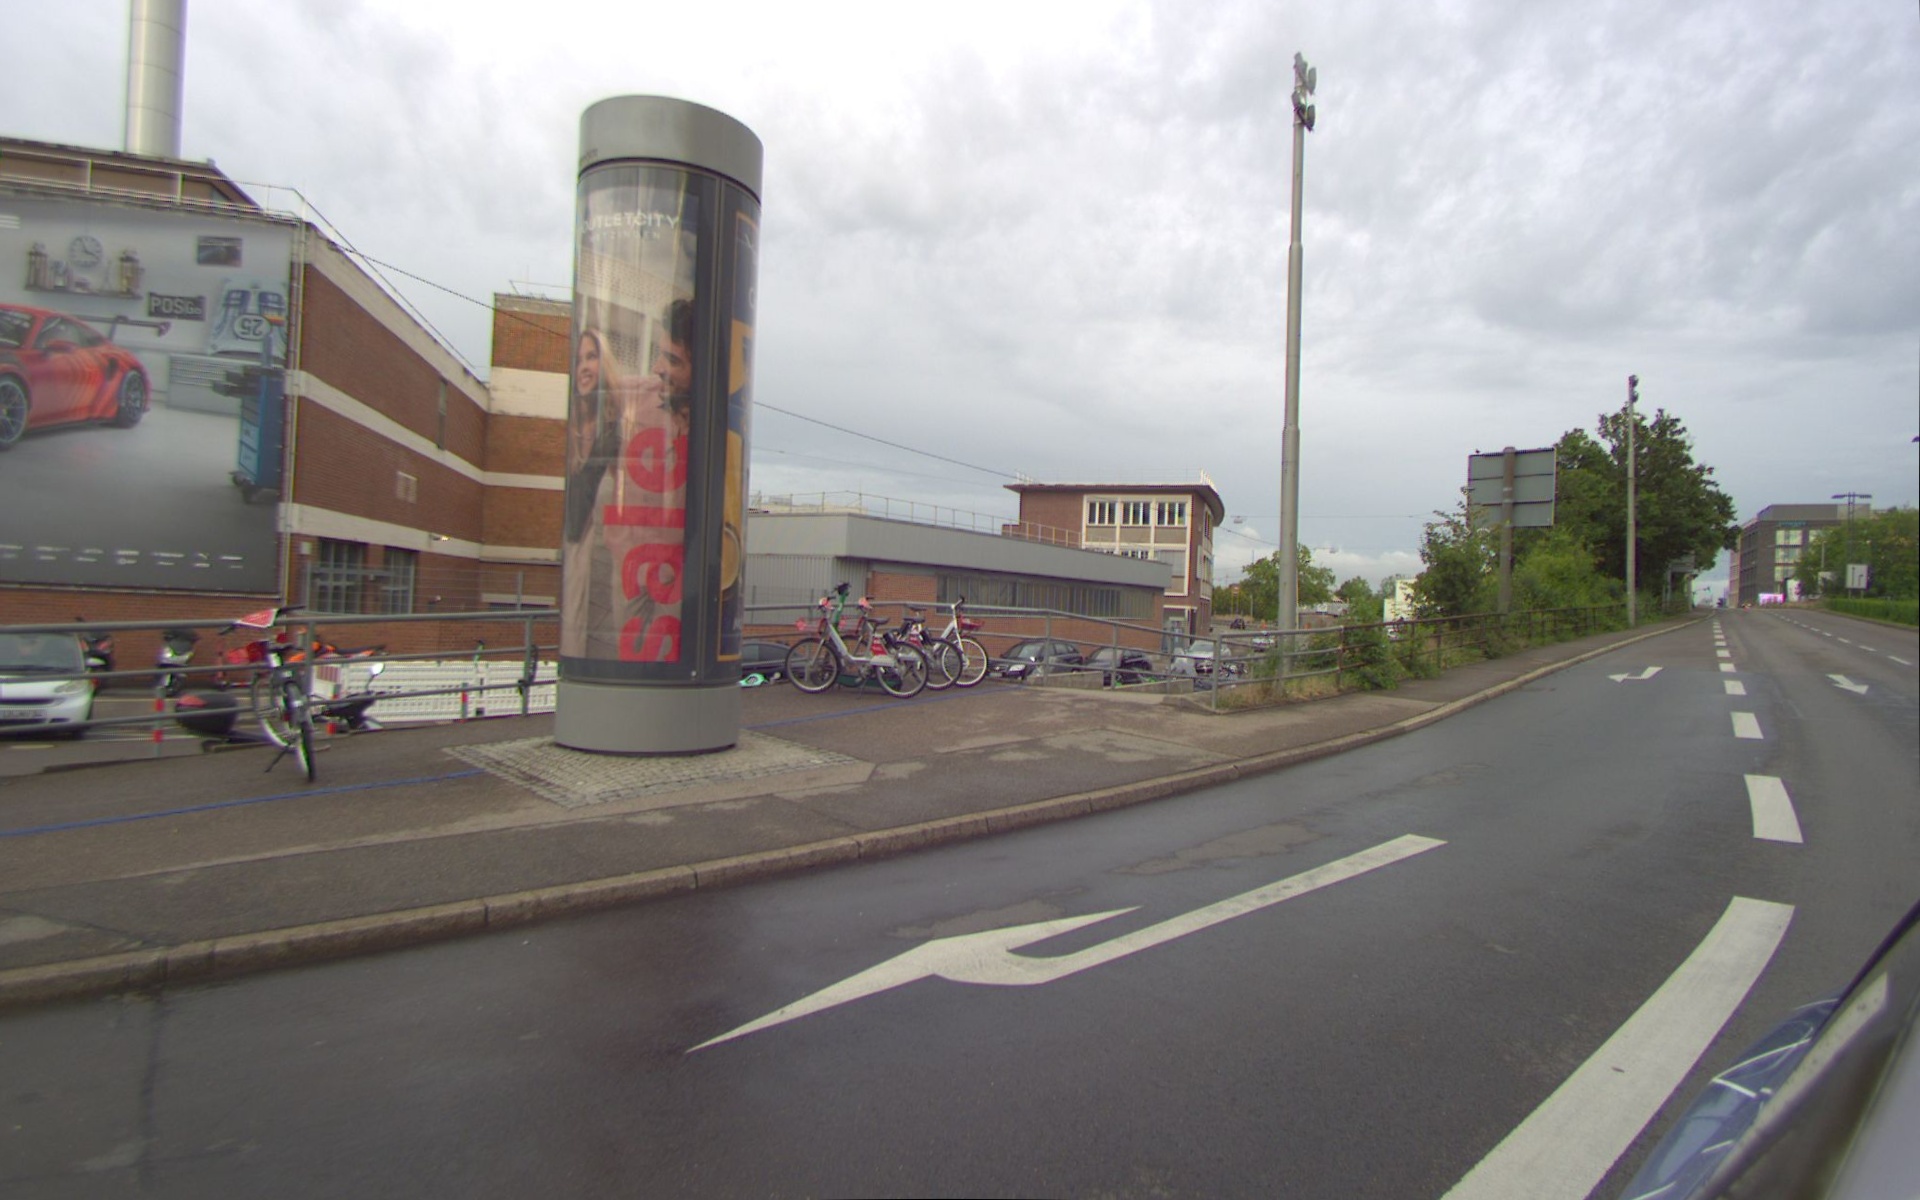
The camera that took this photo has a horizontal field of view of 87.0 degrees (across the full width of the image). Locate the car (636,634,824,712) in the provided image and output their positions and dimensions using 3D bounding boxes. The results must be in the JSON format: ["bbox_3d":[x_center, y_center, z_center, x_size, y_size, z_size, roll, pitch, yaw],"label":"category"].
[{"bbox_3d":[-5.314,1.673,23.891,1.694,1.630,4.204,-1,-3,37],"label":"car"}]

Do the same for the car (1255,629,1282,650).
[{"bbox_3d":[23.316,2.932,76.475,1.648,1.413,3.971,0,0,21],"label":"car"}]

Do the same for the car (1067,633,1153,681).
[{"bbox_3d":[5.803,2.149,38.918,1.694,1.574,3.805,1,1,37],"label":"car"}]

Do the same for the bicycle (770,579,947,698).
[{"bbox_3d":[-1.144,0.411,11.484,1.901,1.239,0.598,2,1,10],"label":"bicycle"}]

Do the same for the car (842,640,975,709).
[{"bbox_3d":[-1.403,2.054,28.922,1.694,1.648,3.878,1,1,37],"label":"car"}]

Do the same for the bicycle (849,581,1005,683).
[{"bbox_3d":[-0.426,0.375,12.955,1.910,1.192,0.595,2,1,23],"label":"bicycle"}]

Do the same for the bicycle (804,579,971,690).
[{"bbox_3d":[-0.854,0.394,12.126,1.900,1.239,0.598,1,1,8],"label":"bicycle"}]

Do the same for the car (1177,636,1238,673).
[{"bbox_3d":[12.401,2.696,50.576,1.692,1.574,3.809,1,1,35],"label":"car"}]

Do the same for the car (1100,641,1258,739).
[{"bbox_3d":[4.501,1.717,20.401,1.694,1.574,3.805,1,1,37],"label":"car"}]

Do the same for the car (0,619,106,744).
[{"bbox_3d":[-13.852,1.130,15.051,1.663,1.500,3.557,4,-1,-40],"label":"car"}]

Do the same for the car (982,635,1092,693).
[{"bbox_3d":[2.658,2.094,34.218,1.629,1.652,4.371,1,1,37],"label":"car"}]

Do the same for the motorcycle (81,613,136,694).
[{"bbox_3d":[-16.161,0.987,19.231,0.675,1.325,2.022,3,2,-38],"label":"motorcycle"}]

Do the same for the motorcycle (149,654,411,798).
[{"bbox_3d":[-5.754,1.013,8.655,0.696,1.002,1.726,1,0,38],"label":"motorcycle"}]

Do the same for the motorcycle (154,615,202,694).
[{"bbox_3d":[-15.286,1.039,19.817,0.562,1.325,1.873,3,2,-34],"label":"motorcycle"}]

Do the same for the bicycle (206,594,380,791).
[{"bbox_3d":[-4.775,0.579,7.192,1.799,1.176,0.583,3,2,41],"label":"bicycle"}]

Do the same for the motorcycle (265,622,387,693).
[{"bbox_3d":[-13.006,1.183,20.828,1.943,1.325,0.932,3,1,-24],"label":"motorcycle"}]
